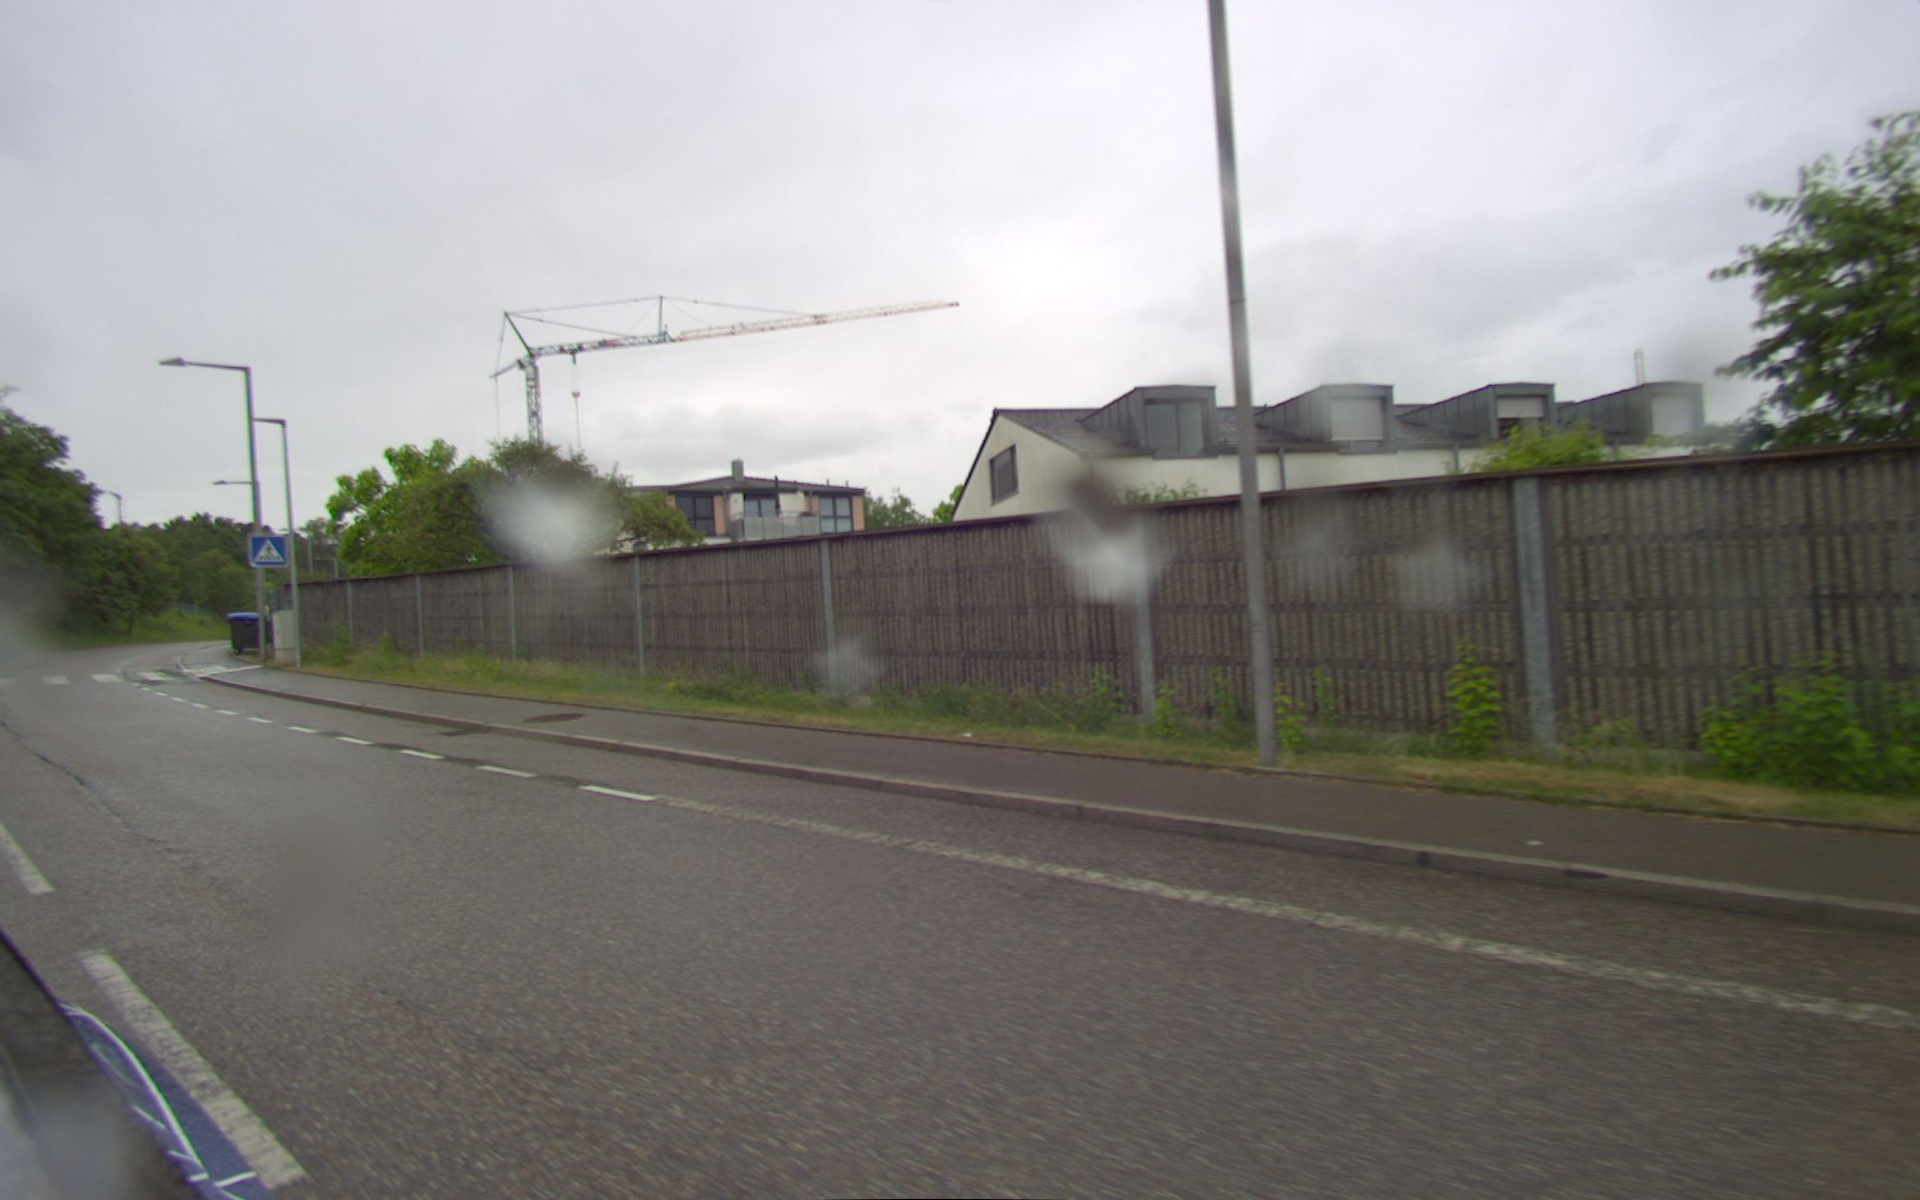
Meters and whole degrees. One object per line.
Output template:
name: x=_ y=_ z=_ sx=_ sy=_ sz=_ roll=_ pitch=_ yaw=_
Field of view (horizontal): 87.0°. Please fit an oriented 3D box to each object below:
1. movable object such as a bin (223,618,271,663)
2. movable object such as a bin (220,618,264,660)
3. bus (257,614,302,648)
movable object such as a bin: x=-23.474 y=1.312 z=33.304 sx=1.117 sy=1.331 sz=1.365 roll=-7 pitch=2 yaw=-38
movable object such as a bin: x=-25.670 y=1.390 z=36.159 sx=1.117 sy=1.349 sz=1.401 roll=-6 pitch=2 yaw=-38
bus: x=-65.466 y=2.923 z=97.549 sx=2.603 sy=3.055 sz=7.690 roll=-2 pitch=0 yaw=-27
